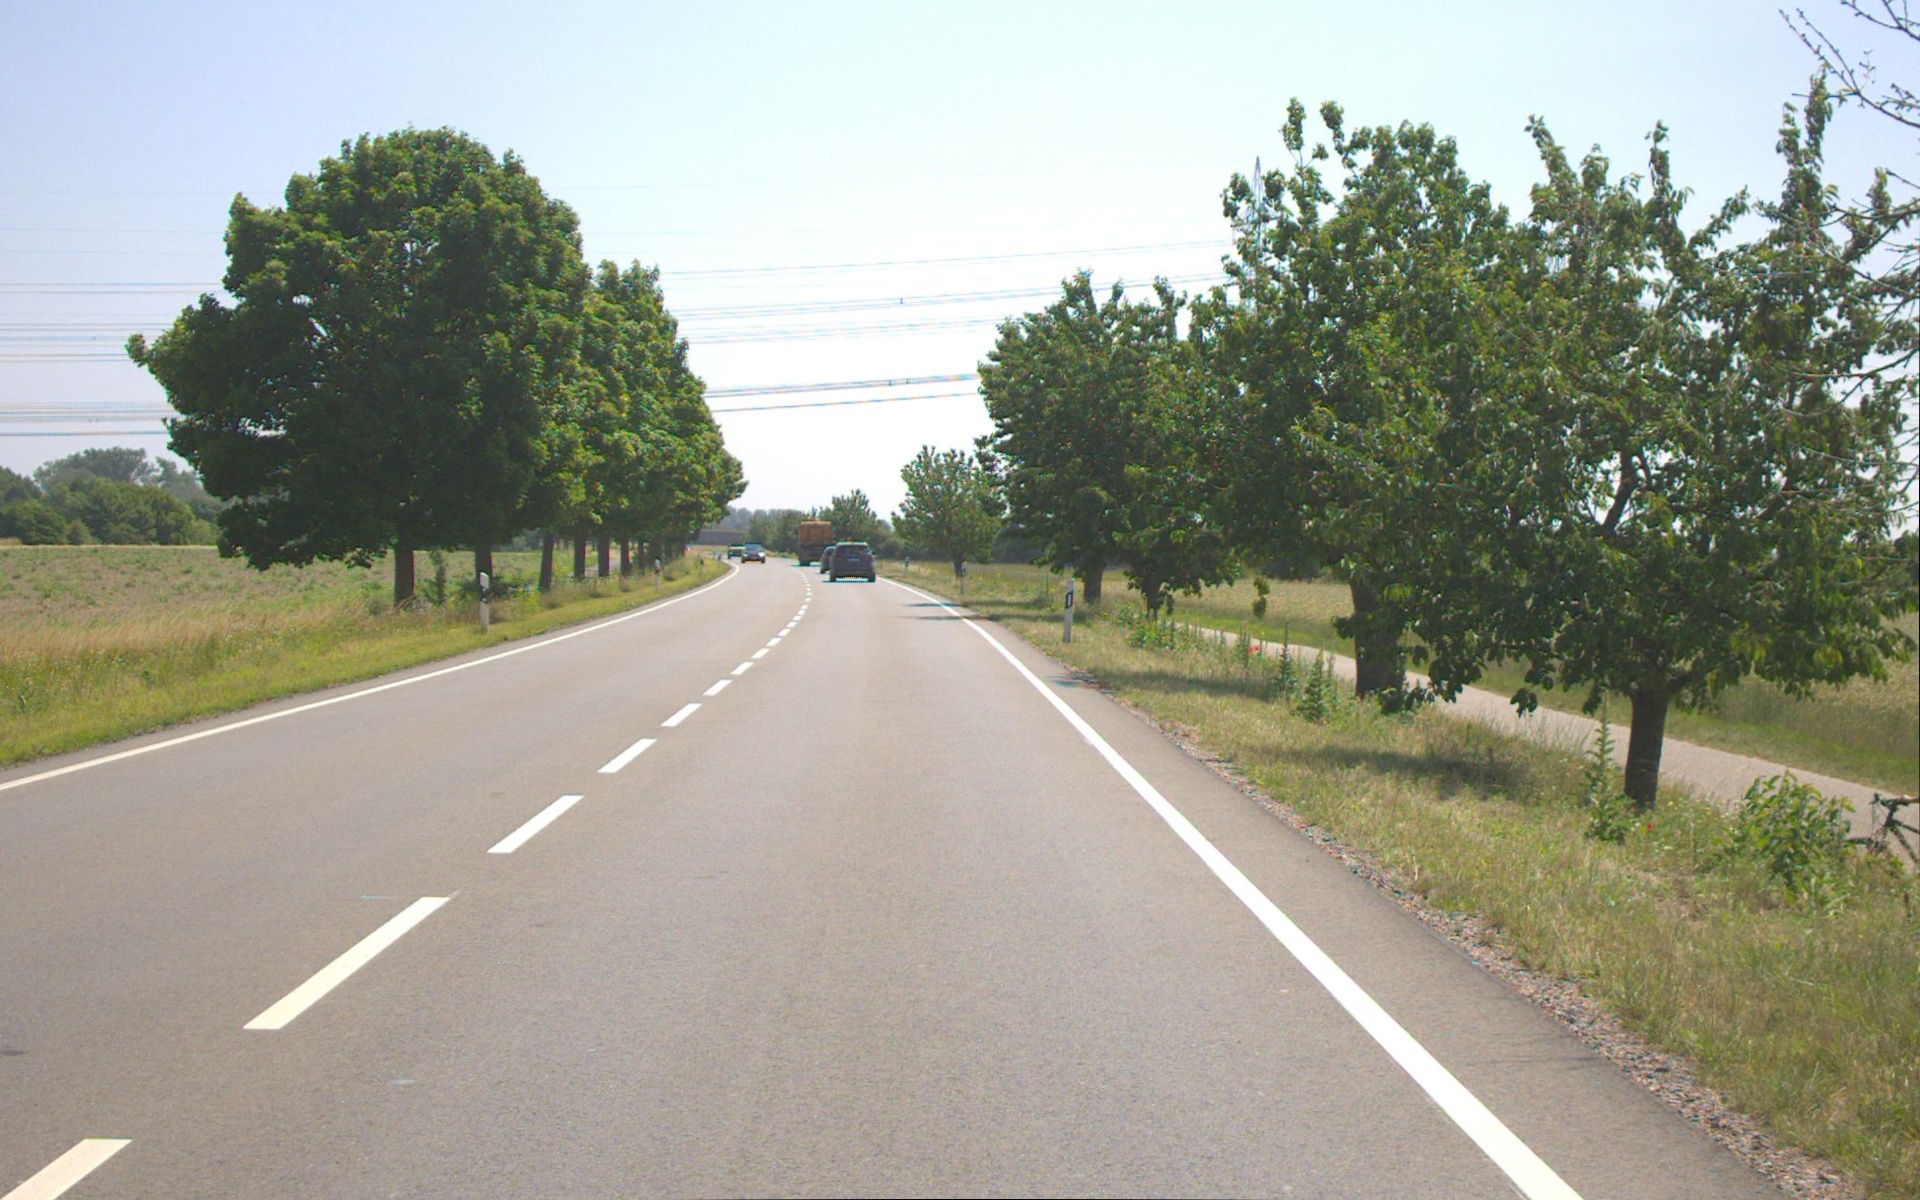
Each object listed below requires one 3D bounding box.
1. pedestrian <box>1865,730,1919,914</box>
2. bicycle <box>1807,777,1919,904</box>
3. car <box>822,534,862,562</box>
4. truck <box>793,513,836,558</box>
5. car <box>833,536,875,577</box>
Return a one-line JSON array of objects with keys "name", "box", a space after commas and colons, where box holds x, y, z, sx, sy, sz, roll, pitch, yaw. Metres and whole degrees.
[{"name": "pedestrian", "box": [6.930, 1.614, 25.043, 0.487, 1.291, 0.441, 2, 1, 40]}, {"name": "bicycle", "box": [6.907, 1.783, 25.490, 1.118, 0.857, 0.441, 2, 1, 36]}, {"name": "car", "box": [-6.392, -2.804, 185.442, 1.850, 1.517, 4.001, 0, 1, -6]}, {"name": "truck", "box": [-10.572, -4.717, 248.709, 2.370, 3.129, 8.750, 2, 1, -7]}, {"name": "car", "box": [-4.491, -1.834, 145.654, 1.714, 1.688, 3.989, 1, 1, -2]}]
